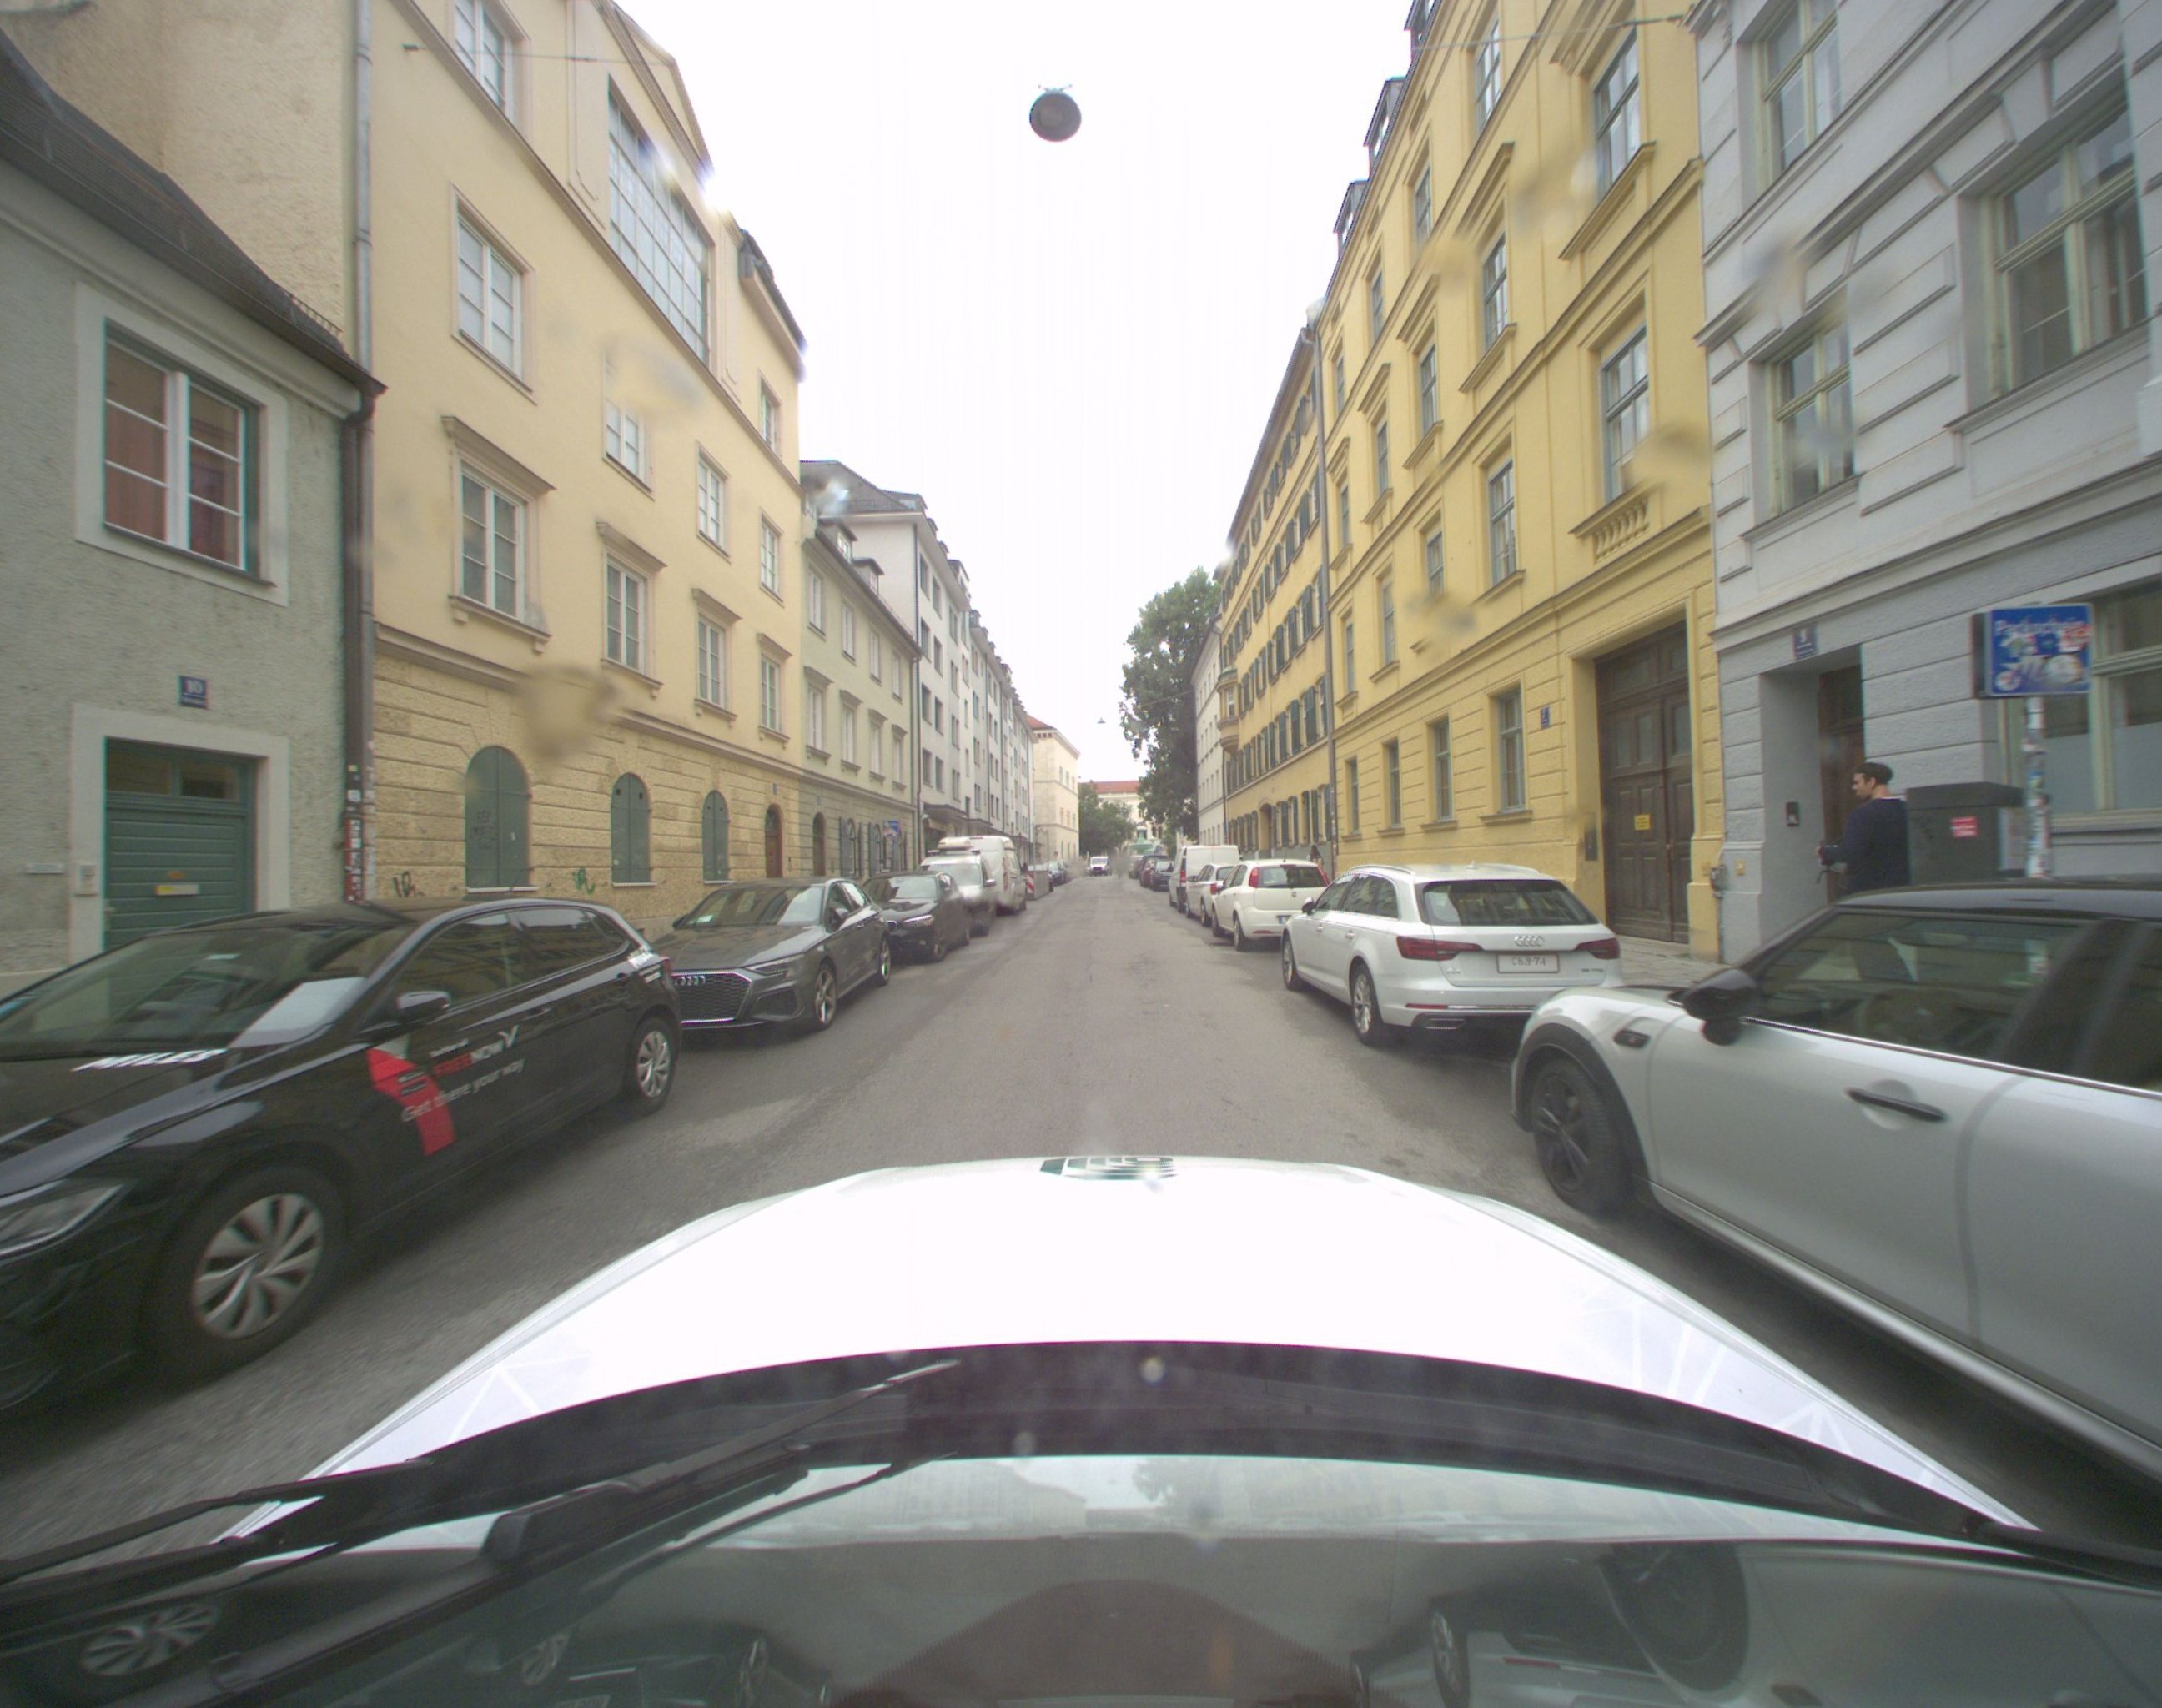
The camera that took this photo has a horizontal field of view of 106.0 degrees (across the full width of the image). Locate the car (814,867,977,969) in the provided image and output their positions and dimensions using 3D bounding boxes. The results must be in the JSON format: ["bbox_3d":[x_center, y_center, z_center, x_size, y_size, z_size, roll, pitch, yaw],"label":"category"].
[{"bbox_3d":[-2.944,0.960,13.794,1.749,1.409,4.103,-1,-1,1],"label":"car"}]

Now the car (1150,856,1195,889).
[{"bbox_3d":[4.332,0.876,39.146,1.805,1.465,4.248,0,-1,2],"label":"car"}]

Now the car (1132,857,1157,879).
[{"bbox_3d":[5.083,1.103,65.198,1.804,1.614,4.158,-2,-1,2],"label":"car"}]

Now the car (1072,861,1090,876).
[{"bbox_3d":[0.017,1.676,92.165,1.699,1.581,3.867,-3,-1,4],"label":"car"}]

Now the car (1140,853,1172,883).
[{"bbox_3d":[4.731,0.863,51.671,1.804,1.797,4.249,0,-1,2],"label":"car"}]

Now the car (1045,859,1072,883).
[{"bbox_3d":[-1.579,1.224,58.396,1.700,1.609,3.863,-3,-1,1],"label":"car"}]

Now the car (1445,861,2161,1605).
[{"bbox_3d":[2.922,0.741,2.488,1.703,1.404,4.206,-1,-1,0],"label":"car"}]

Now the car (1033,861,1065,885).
[{"bbox_3d":[-2.045,1.231,52.826,1.811,1.444,3.819,-3,-1,1],"label":"car"}]

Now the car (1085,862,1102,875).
[{"bbox_3d":[1.581,1.761,100.713,1.699,1.581,3.867,-3,-1,4],"label":"car"}]

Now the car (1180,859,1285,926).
[{"bbox_3d":[3.489,0.836,19.461,1.702,1.392,4.205,-1,-1,0],"label":"car"}]

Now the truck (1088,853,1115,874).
[{"bbox_3d":[2.405,1.071,93.051,2.108,2.247,6.201,-2,-2,9],"label":"truck"}]

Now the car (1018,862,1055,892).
[{"bbox_3d":[-2.378,1.180,42.778,1.759,1.410,4.147,-2,-1,-5],"label":"car"}]

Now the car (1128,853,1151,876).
[{"bbox_3d":[5.098,0.892,71.374,1.844,1.919,4.772,-2,-1,2],"label":"car"}]

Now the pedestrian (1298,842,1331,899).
[{"bbox_3d":[6.778,0.482,23.621,0.658,1.571,0.642,-4,-2,1],"label":"pedestrian"}]

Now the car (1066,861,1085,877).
[{"bbox_3d":[-0.561,1.572,86.027,1.699,1.609,3.867,-3,-1,4],"label":"car"}]

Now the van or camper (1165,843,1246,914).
[{"bbox_3d":[3.617,0.692,24.525,1.826,1.872,5.081,-1,-1,2],"label":"van or camper"}]

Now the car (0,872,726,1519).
[{"bbox_3d":[-3.481,0.876,3.890,1.749,1.496,4.199,-1,-1,-1],"label":"car"}]

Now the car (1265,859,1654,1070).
[{"bbox_3d":[3.118,0.782,7.962,1.701,1.408,4.817,-1,-1,2],"label":"car"}]

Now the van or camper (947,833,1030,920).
[{"bbox_3d":[-2.643,0.632,24.452,1.748,2.281,5.274,-1,-1,1],"label":"van or camper"}]

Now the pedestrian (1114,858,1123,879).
[{"bbox_3d":[3.107,1.182,67.420,0.639,1.714,0.843,-2,-2,2],"label":"pedestrian"}]

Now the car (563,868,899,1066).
[{"bbox_3d":[-3.277,0.943,8.631,1.811,1.441,4.128,-2,0,-2],"label":"car"}]

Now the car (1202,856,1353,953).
[{"bbox_3d":[3.330,0.794,14.590,1.702,1.454,4.095,-1,-1,0],"label":"car"}]

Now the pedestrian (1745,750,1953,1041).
[{"bbox_3d":[5.634,0.294,6.031,0.667,1.980,0.709,-5,-2,2],"label":"pedestrian"}]

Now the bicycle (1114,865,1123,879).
[{"bbox_3d":[3.126,1.501,67.462,0.673,1.095,1.761,-2,-2,3],"label":"bicycle"}]

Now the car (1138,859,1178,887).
[{"bbox_3d":[4.160,1.002,44.466,1.806,1.425,4.246,0,-1,0],"label":"car"}]

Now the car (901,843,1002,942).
[{"bbox_3d":[-2.879,0.811,19.067,1.750,1.995,4.621,-1,-1,-2],"label":"car"}]
